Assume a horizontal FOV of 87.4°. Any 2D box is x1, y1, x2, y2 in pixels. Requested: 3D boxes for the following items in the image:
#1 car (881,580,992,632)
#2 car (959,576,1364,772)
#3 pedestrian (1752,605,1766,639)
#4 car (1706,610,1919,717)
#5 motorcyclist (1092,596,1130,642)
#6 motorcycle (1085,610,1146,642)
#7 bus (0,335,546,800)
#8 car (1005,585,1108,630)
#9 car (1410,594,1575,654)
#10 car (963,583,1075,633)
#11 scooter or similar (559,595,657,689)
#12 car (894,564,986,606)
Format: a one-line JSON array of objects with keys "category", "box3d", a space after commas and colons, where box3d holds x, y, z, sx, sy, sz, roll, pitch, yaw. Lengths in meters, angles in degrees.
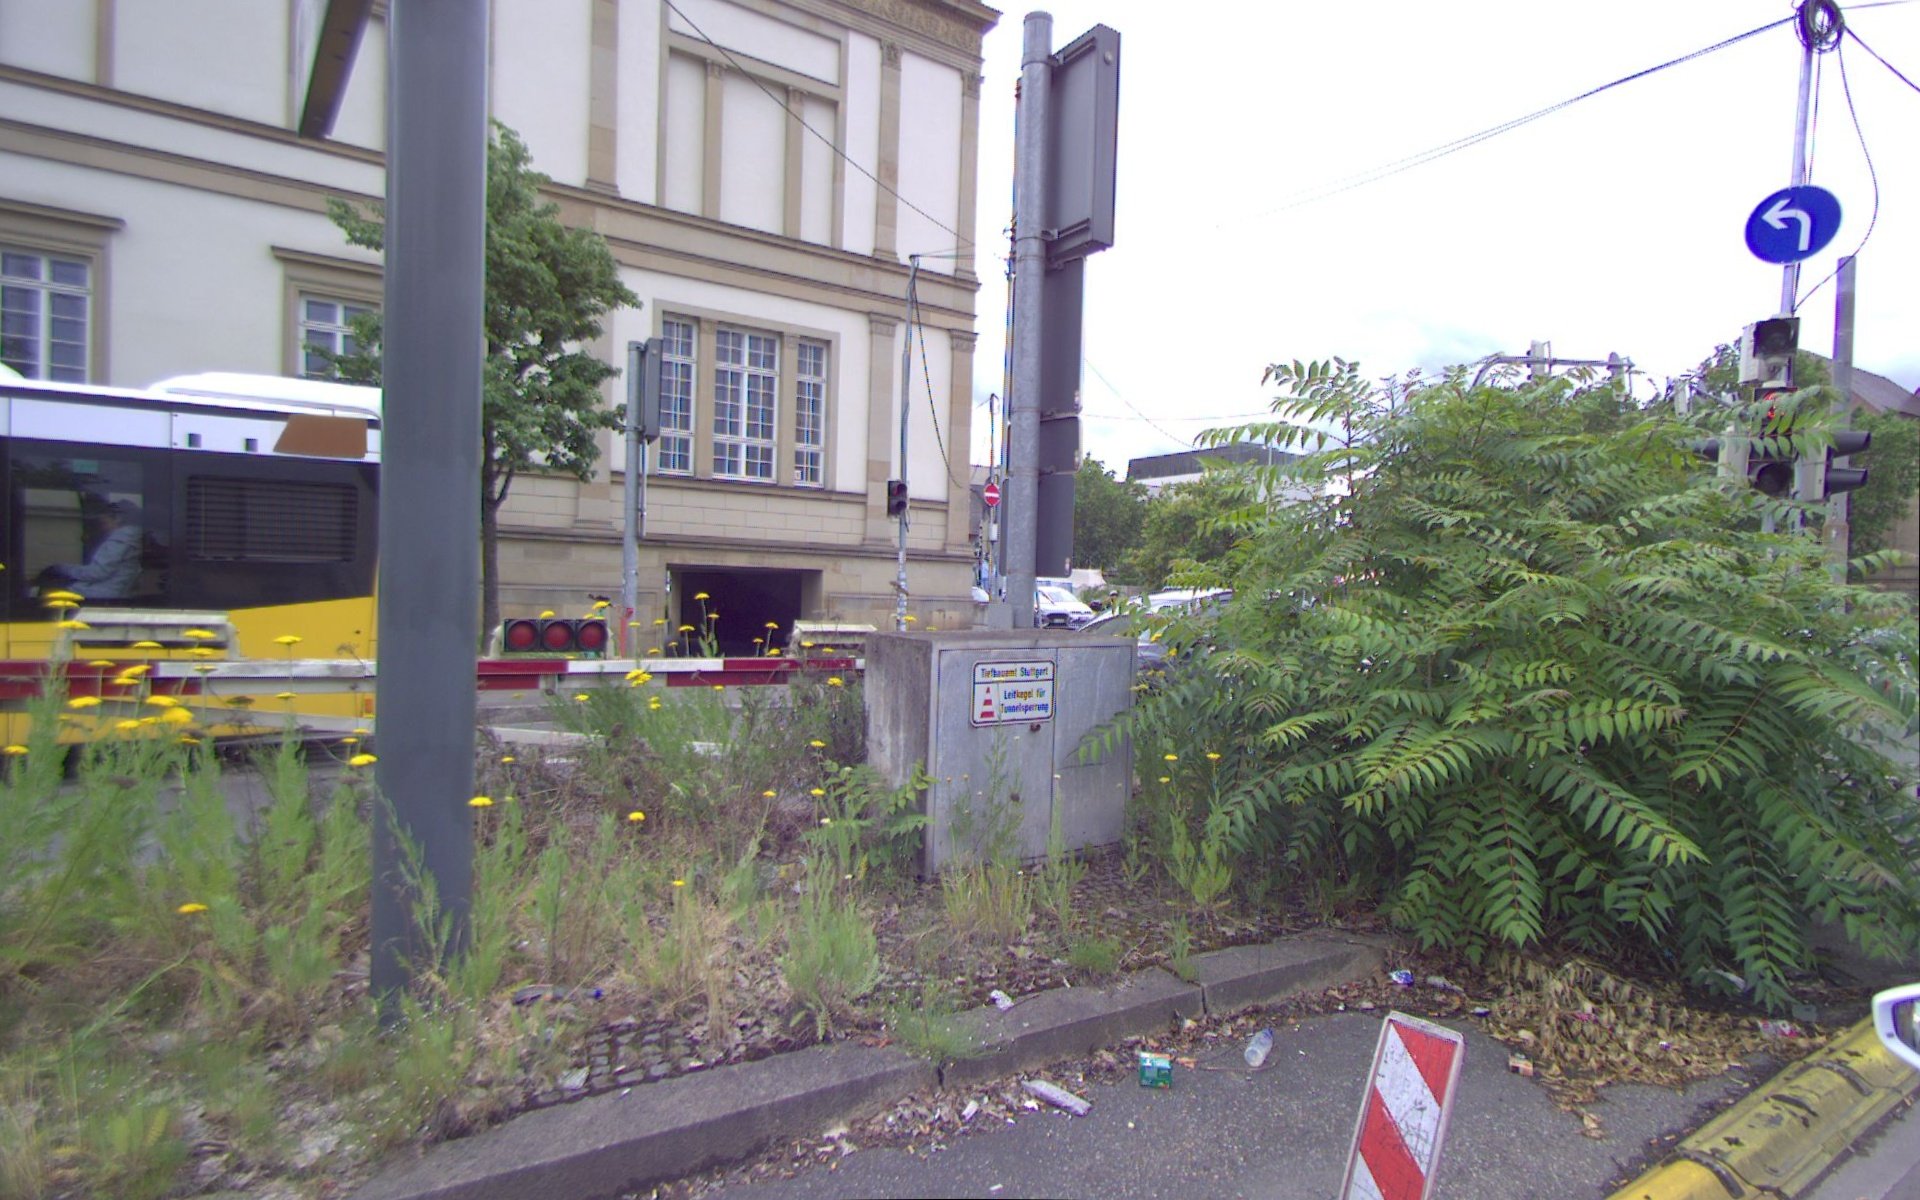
[{"category": "car", "box3d": [-0.902, 0.172, 35.927, 1.979, 1.698, 4.285, 1, 1, -34]}, {"category": "car", "box3d": [2.065, 0.631, 10.011, 3.840, 1.611, 1.687, 1, 0, -32]}, {"category": "pedestrian", "box3d": [49.769, 1.363, 62.565, 0.516, 2.040, 0.428, 2, 1, 17]}, {"category": "car", "box3d": [14.244, 0.977, 16.446, 4.579, 1.491, 1.691, 2, 0, -32]}, {"category": "motorcyclist", "box3d": [4.926, 0.617, 32.877, 0.738, 1.442, 0.959, 1, 1, -35]}, {"category": "motorcycle", "box3d": [5.051, 0.846, 32.700, 0.749, 0.937, 2.042, 1, 1, -35]}, {"category": "bus", "box3d": [-8.141, -0.265, 7.484, 9.018, 3.156, 2.831, 1, 1, -31]}, {"category": "car", "box3d": [3.932, 0.286, 41.707, 1.979, 1.698, 4.285, 1, 1, -34]}, {"category": "car", "box3d": [17.136, 0.732, 32.456, 1.986, 1.698, 4.271, 1, 1, -43]}, {"category": "car", "box3d": [2.153, 0.262, 37.554, 1.979, 1.698, 4.285, 1, 1, -34]}, {"category": "scooter or similar", "box3d": [-4.936, 0.584, 14.141, 1.132, 1.190, 0.540, 6, 0, -10]}, {"category": "car", "box3d": [-0.934, -0.677, 43.692, 1.979, 1.698, 4.285, 1, 1, -34]}]
